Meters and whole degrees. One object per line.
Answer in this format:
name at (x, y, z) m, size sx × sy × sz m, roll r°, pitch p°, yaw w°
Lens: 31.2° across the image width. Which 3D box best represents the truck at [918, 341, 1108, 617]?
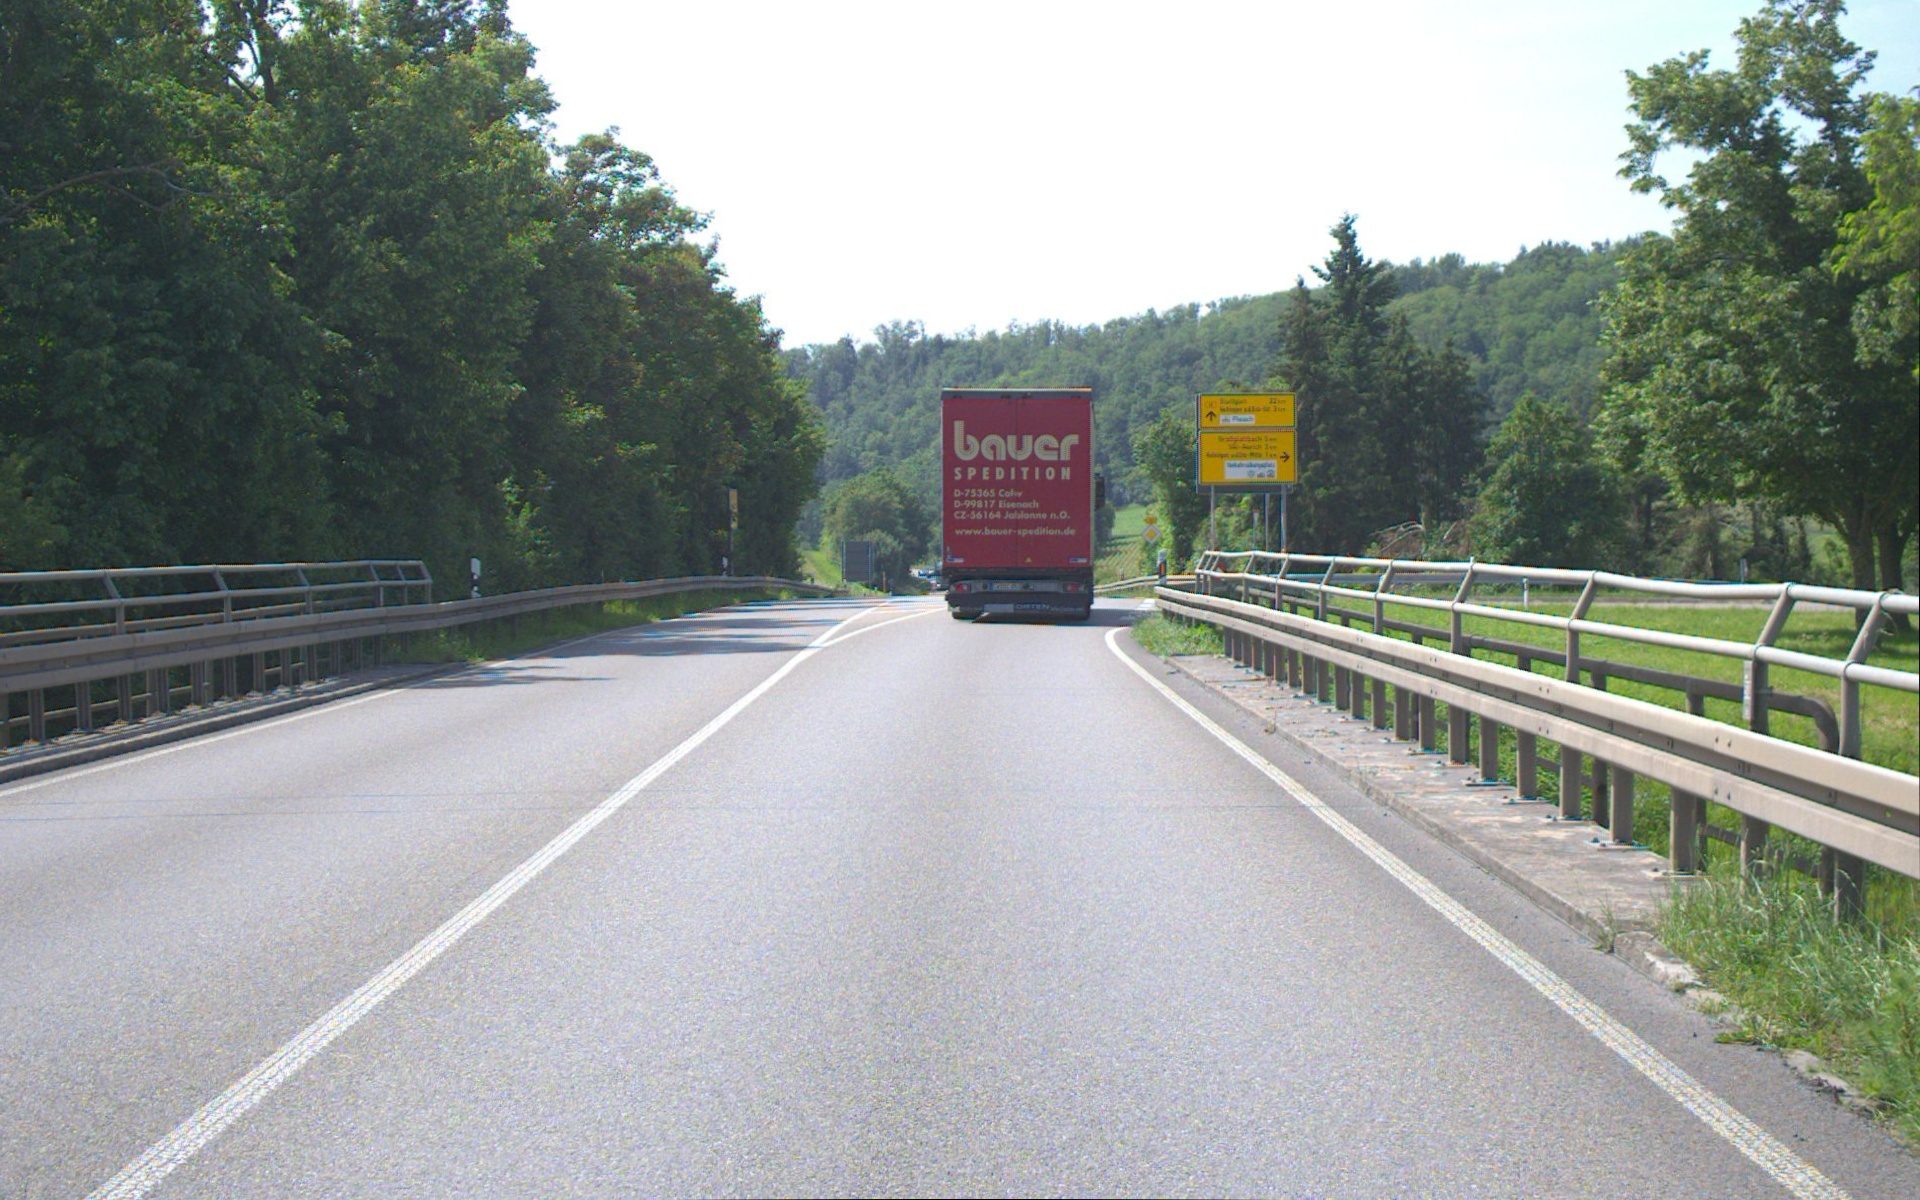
truck at (0.952, -2.184, 64.394) m, size 3.172 × 4.609 × 13.544 m, roll 0°, pitch 1°, yaw 1°
